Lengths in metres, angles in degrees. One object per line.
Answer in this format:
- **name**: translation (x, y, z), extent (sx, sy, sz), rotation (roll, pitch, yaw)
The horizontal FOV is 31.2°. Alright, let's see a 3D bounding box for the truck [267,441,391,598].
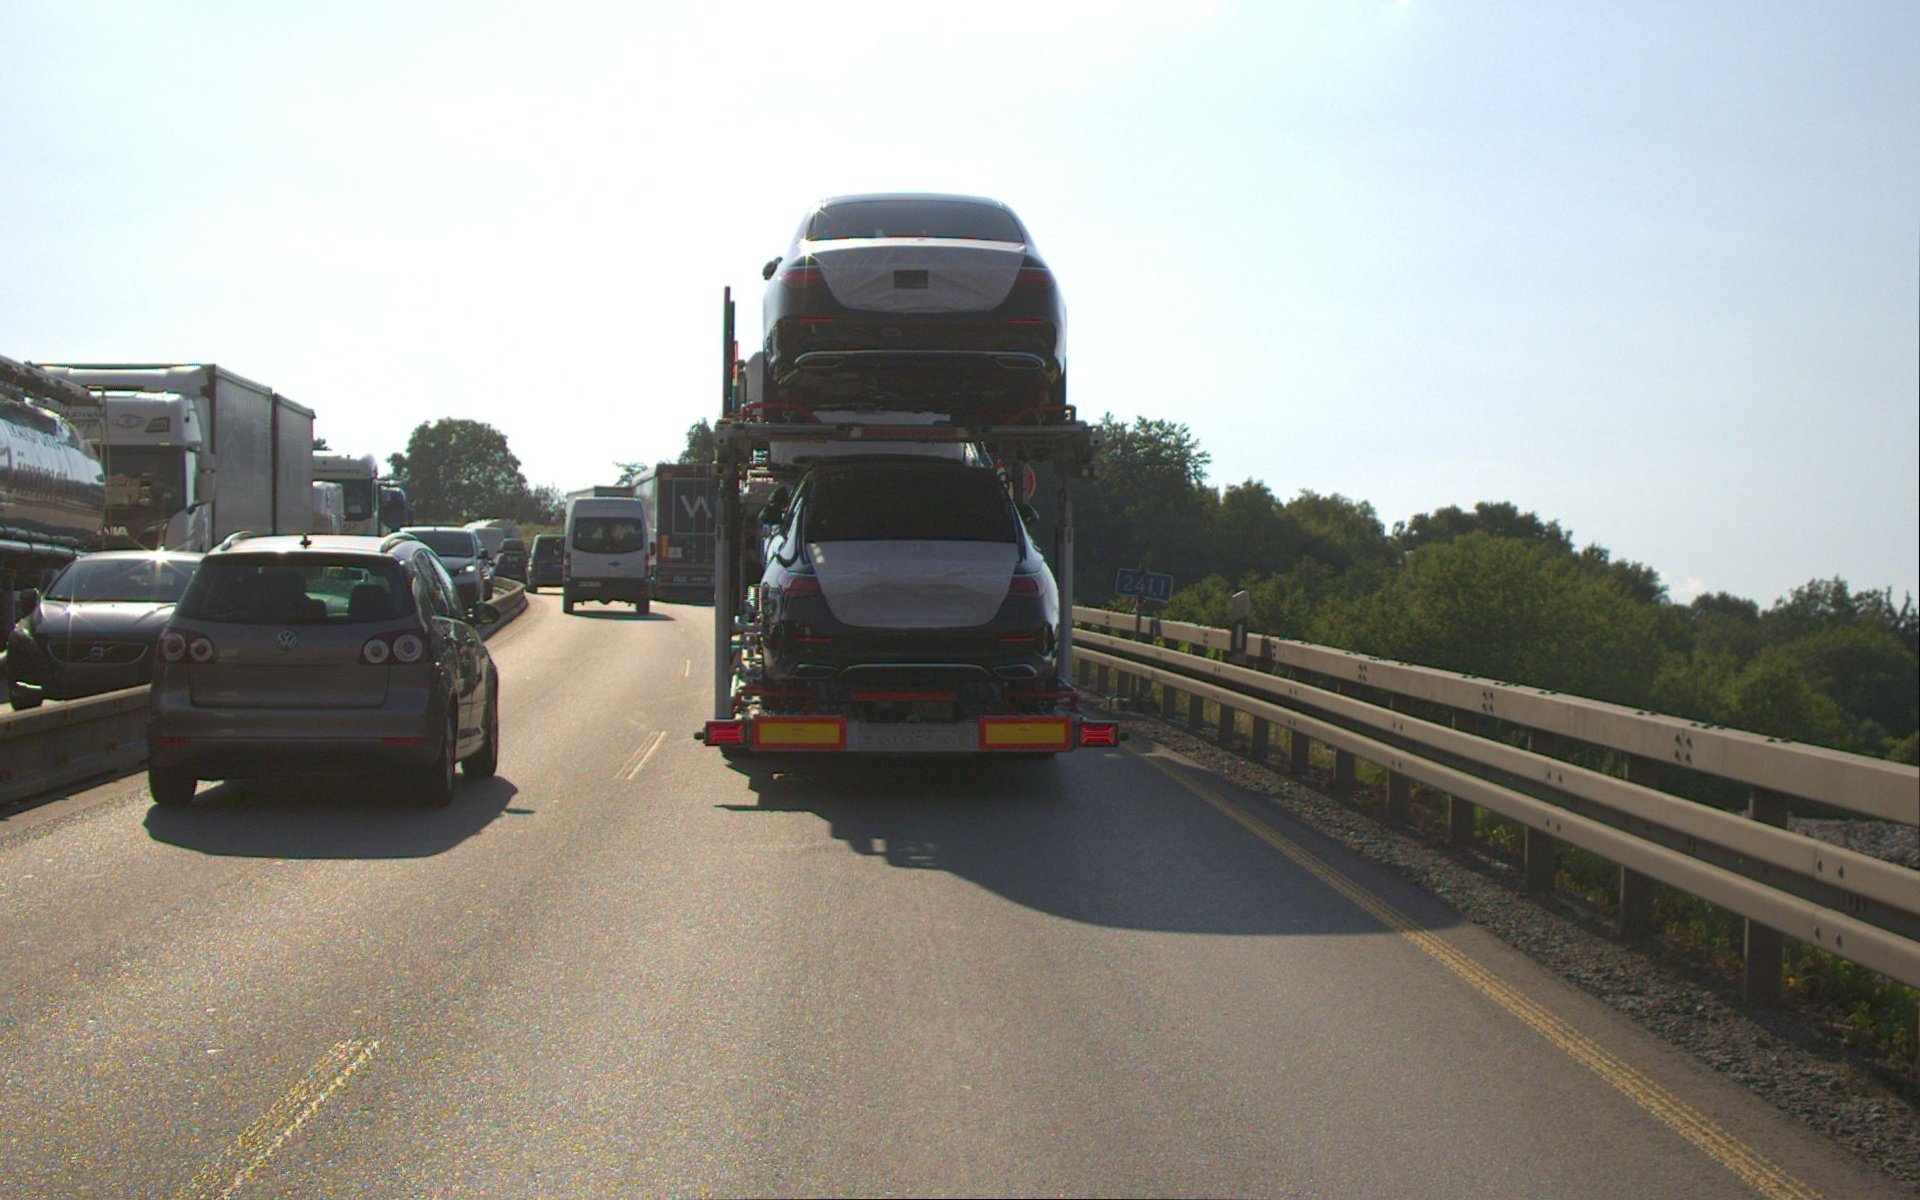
- **truck**: translation (-15.720, -1.970, 85.952), extent (2.600, 3.741, 6.518), rotation (1, 0, -7)

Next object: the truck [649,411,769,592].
- **truck**: translation (-7.743, -2.910, 104.910), extent (3.285, 5.219, 9.938), rotation (1, 0, -6)

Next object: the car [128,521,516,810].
- **car**: translation (-3.815, 0.347, 21.167), extent (1.691, 1.590, 4.000), rotation (1, 0, -1)

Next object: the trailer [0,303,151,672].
- **trailer**: translation (-11.150, -1.189, 37.855), extent (2.306, 3.777, 12.054), rotation (1, 0, -3)

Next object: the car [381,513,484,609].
- **car**: translation (-10.950, -0.812, 71.596), extent (1.816, 1.919, 4.837), rotation (1, 0, -6)

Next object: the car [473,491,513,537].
- **car**: translation (-21.347, -3.899, 156.985), extent (1.629, 2.007, 4.001), rotation (1, 0, -10)

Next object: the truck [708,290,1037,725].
- **truck**: translation (-1.075, -0.855, 35.173), extent (2.837, 3.779, 9.988), rotation (1, 0, -4)

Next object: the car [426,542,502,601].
- **car**: translation (-12.813, -0.739, 88.913), extent (1.680, 1.474, 4.604), rotation (1, 0, -5)

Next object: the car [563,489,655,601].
- **car**: translation (-8.099, -1.265, 79.725), extent (1.920, 2.484, 5.409), rotation (1, 0, -4)

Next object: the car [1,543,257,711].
- **car**: translation (-7.563, 0.214, 31.631), extent (1.627, 1.421, 4.388), rotation (1, 0, -5)

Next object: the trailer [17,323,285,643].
- **trailer**: translation (-12.016, -1.636, 51.954), extent (2.475, 4.314, 10.513), rotation (1, 0, -5)

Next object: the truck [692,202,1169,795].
- **truck**: translation (-0.500, -0.646, 25.731), extent (2.799, 3.485, 10.607), rotation (1, 0, -4)

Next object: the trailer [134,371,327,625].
- **trailer**: translation (-12.911, -1.733, 61.422), extent (2.442, 4.174, 8.545), rotation (1, 0, -6)

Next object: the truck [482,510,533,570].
- **truck**: translation (-24.568, -3.212, 186.803), extent (2.590, 3.159, 6.678), rotation (1, 0, -6)

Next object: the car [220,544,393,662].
- **car**: translation (-8.337, 0.019, 44.179), extent (1.627, 1.421, 4.658), rotation (1, 0, -4)

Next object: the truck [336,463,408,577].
- **truck**: translation (-21.591, -2.906, 126.230), extent (2.502, 4.052, 5.666), rotation (1, 0, -9)

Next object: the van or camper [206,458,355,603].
- **van or camper**: translation (-14.295, -1.423, 72.785), extent (2.407, 2.881, 7.620), rotation (1, 0, -6)

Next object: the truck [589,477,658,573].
- **truck**: translation (-13.211, -2.903, 135.528), extent (2.530, 3.635, 8.907), rotation (1, 0, -5)

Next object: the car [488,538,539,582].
- **car**: translation (-18.442, -1.645, 142.152), extent (1.826, 1.766, 4.001), rotation (1, 0, -4)
